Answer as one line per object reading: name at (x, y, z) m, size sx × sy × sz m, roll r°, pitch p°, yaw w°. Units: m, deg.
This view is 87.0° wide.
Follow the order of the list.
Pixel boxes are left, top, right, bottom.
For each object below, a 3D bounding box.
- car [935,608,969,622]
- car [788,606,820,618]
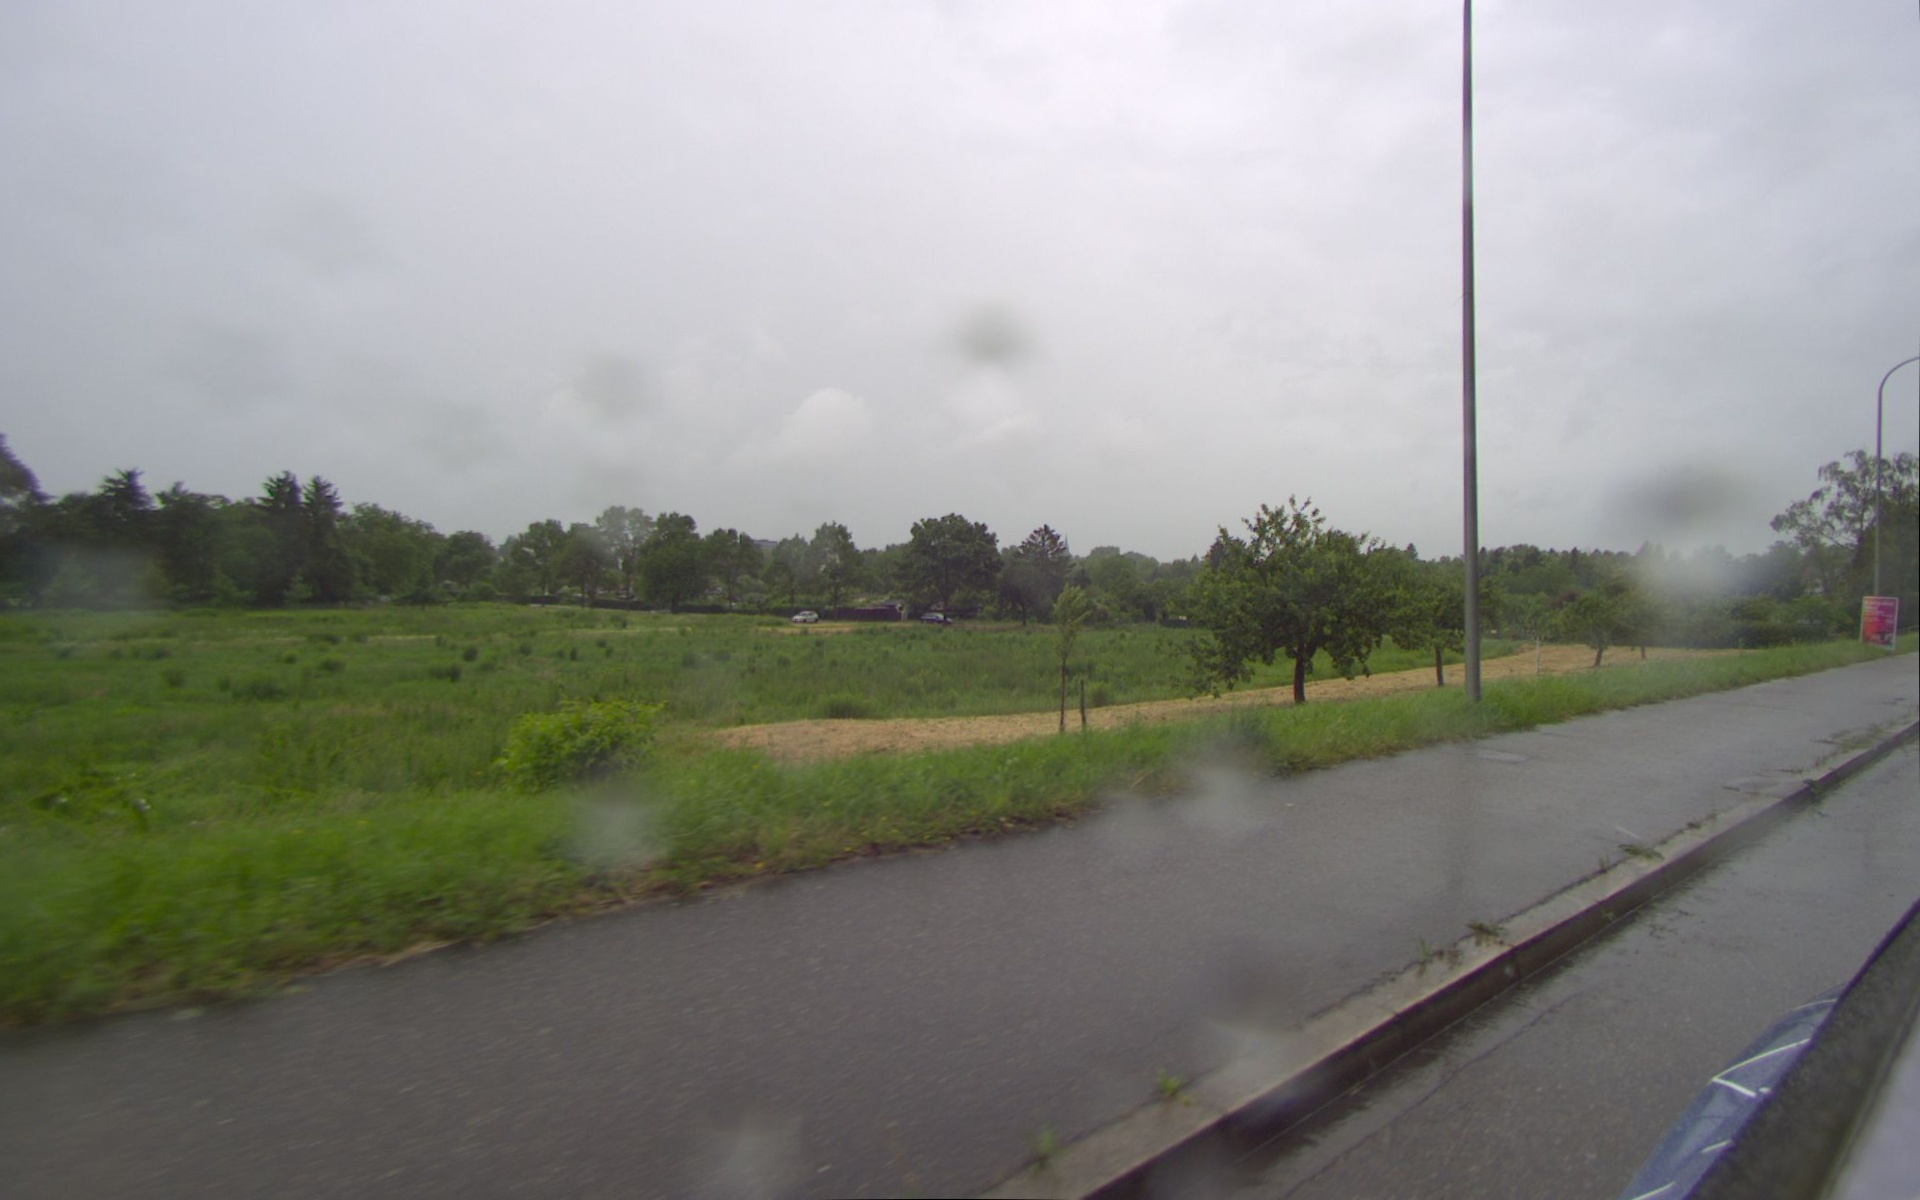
car at (-0.947, 1.810, 120.475) m, size 3.984 × 1.529 × 1.773 m, roll 1°, pitch 1°, yaw 42°
car at (-19.792, 1.525, 128.594) m, size 1.785 × 1.529 × 4.121 m, roll -1°, pitch 0°, yaw 30°
